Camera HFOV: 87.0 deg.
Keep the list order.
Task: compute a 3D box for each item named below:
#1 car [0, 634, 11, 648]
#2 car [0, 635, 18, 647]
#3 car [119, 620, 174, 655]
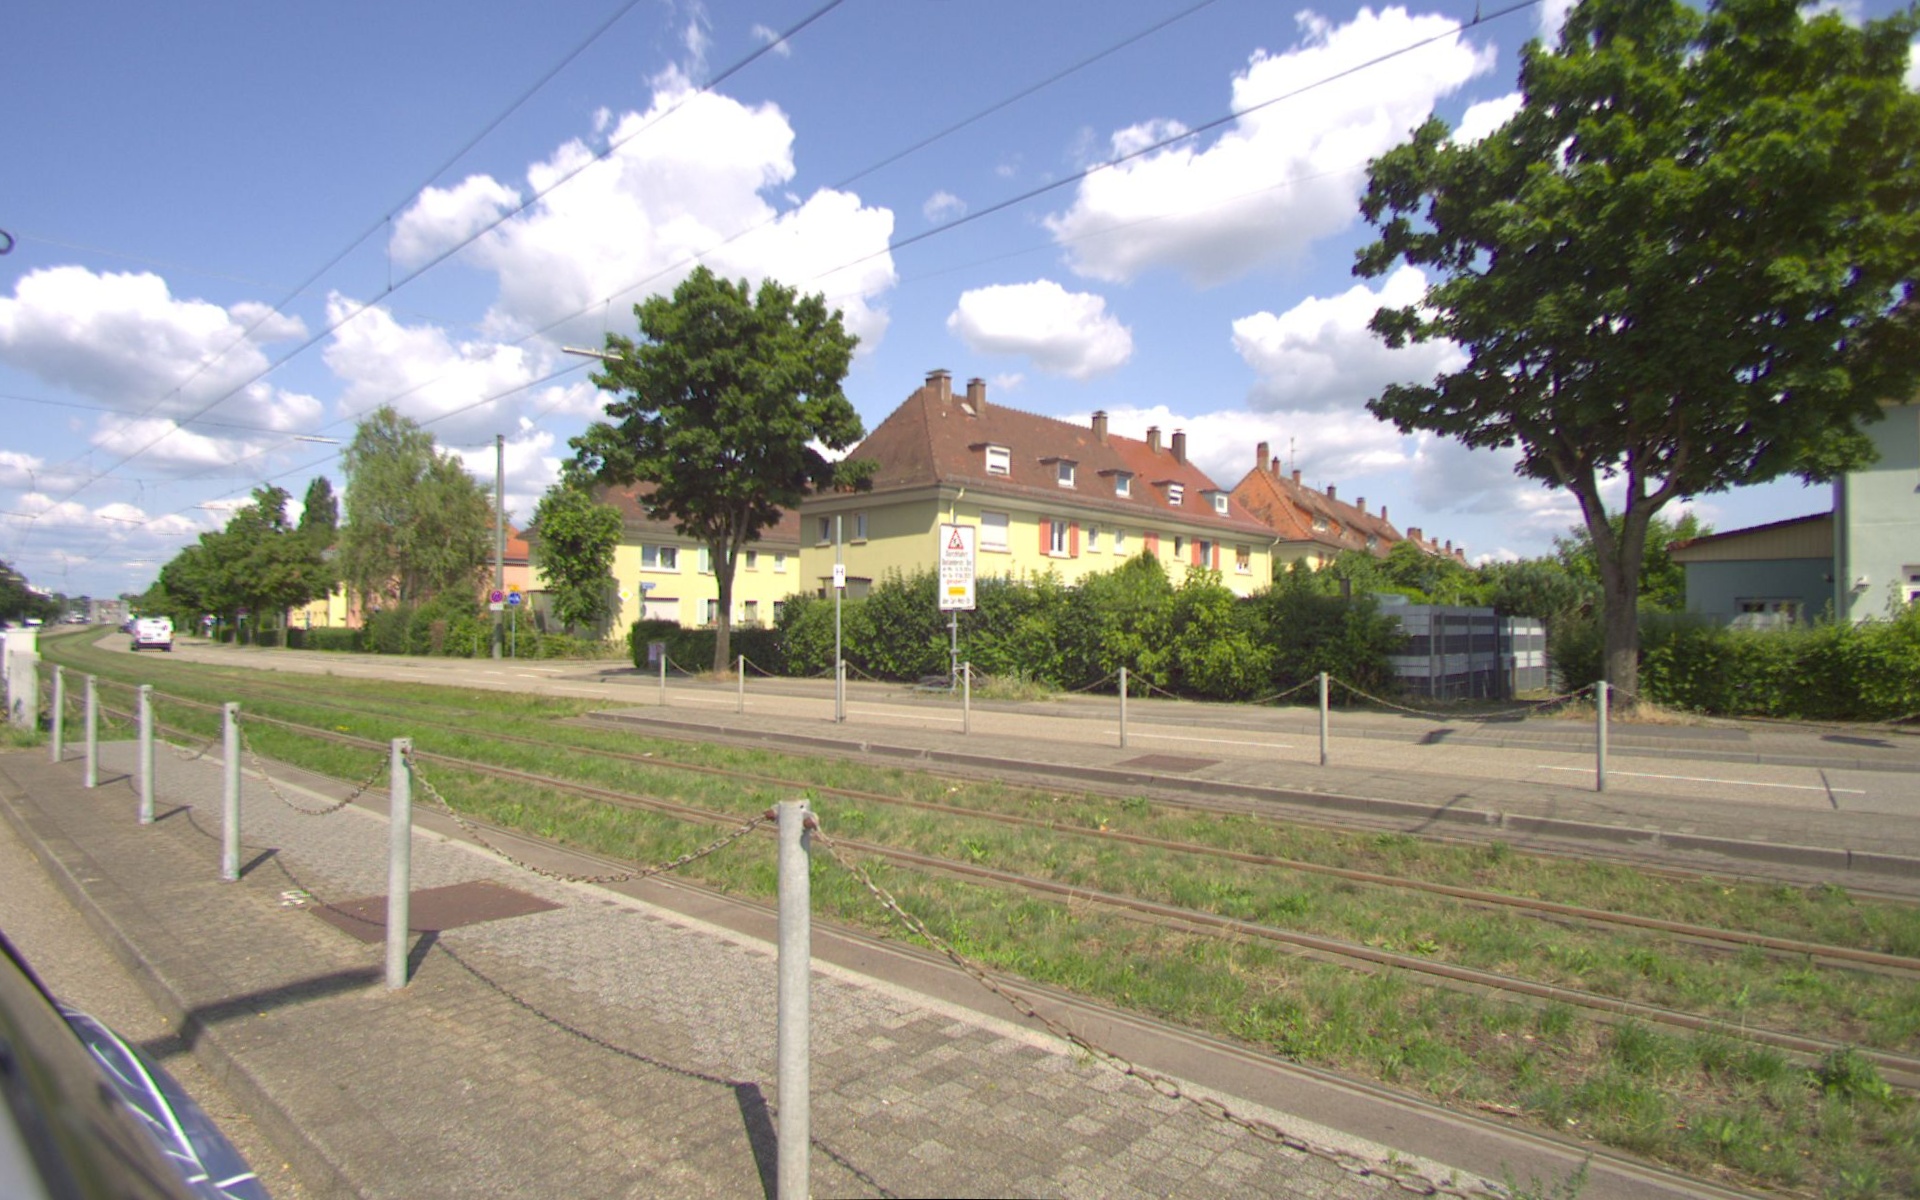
[{"bbox_3d":[-108.003,4.645,113.626,1.969,1.497,4.005,0,-1,-42],"label":"car"},{"bbox_3d":[-118.825,5.112,126.185,1.969,1.497,4.005,0,-1,-42],"label":"car"},{"bbox_3d":[-58.527,2.682,72.778,5.331,2.390,2.173,-1,-4,42],"label":"car"}]
